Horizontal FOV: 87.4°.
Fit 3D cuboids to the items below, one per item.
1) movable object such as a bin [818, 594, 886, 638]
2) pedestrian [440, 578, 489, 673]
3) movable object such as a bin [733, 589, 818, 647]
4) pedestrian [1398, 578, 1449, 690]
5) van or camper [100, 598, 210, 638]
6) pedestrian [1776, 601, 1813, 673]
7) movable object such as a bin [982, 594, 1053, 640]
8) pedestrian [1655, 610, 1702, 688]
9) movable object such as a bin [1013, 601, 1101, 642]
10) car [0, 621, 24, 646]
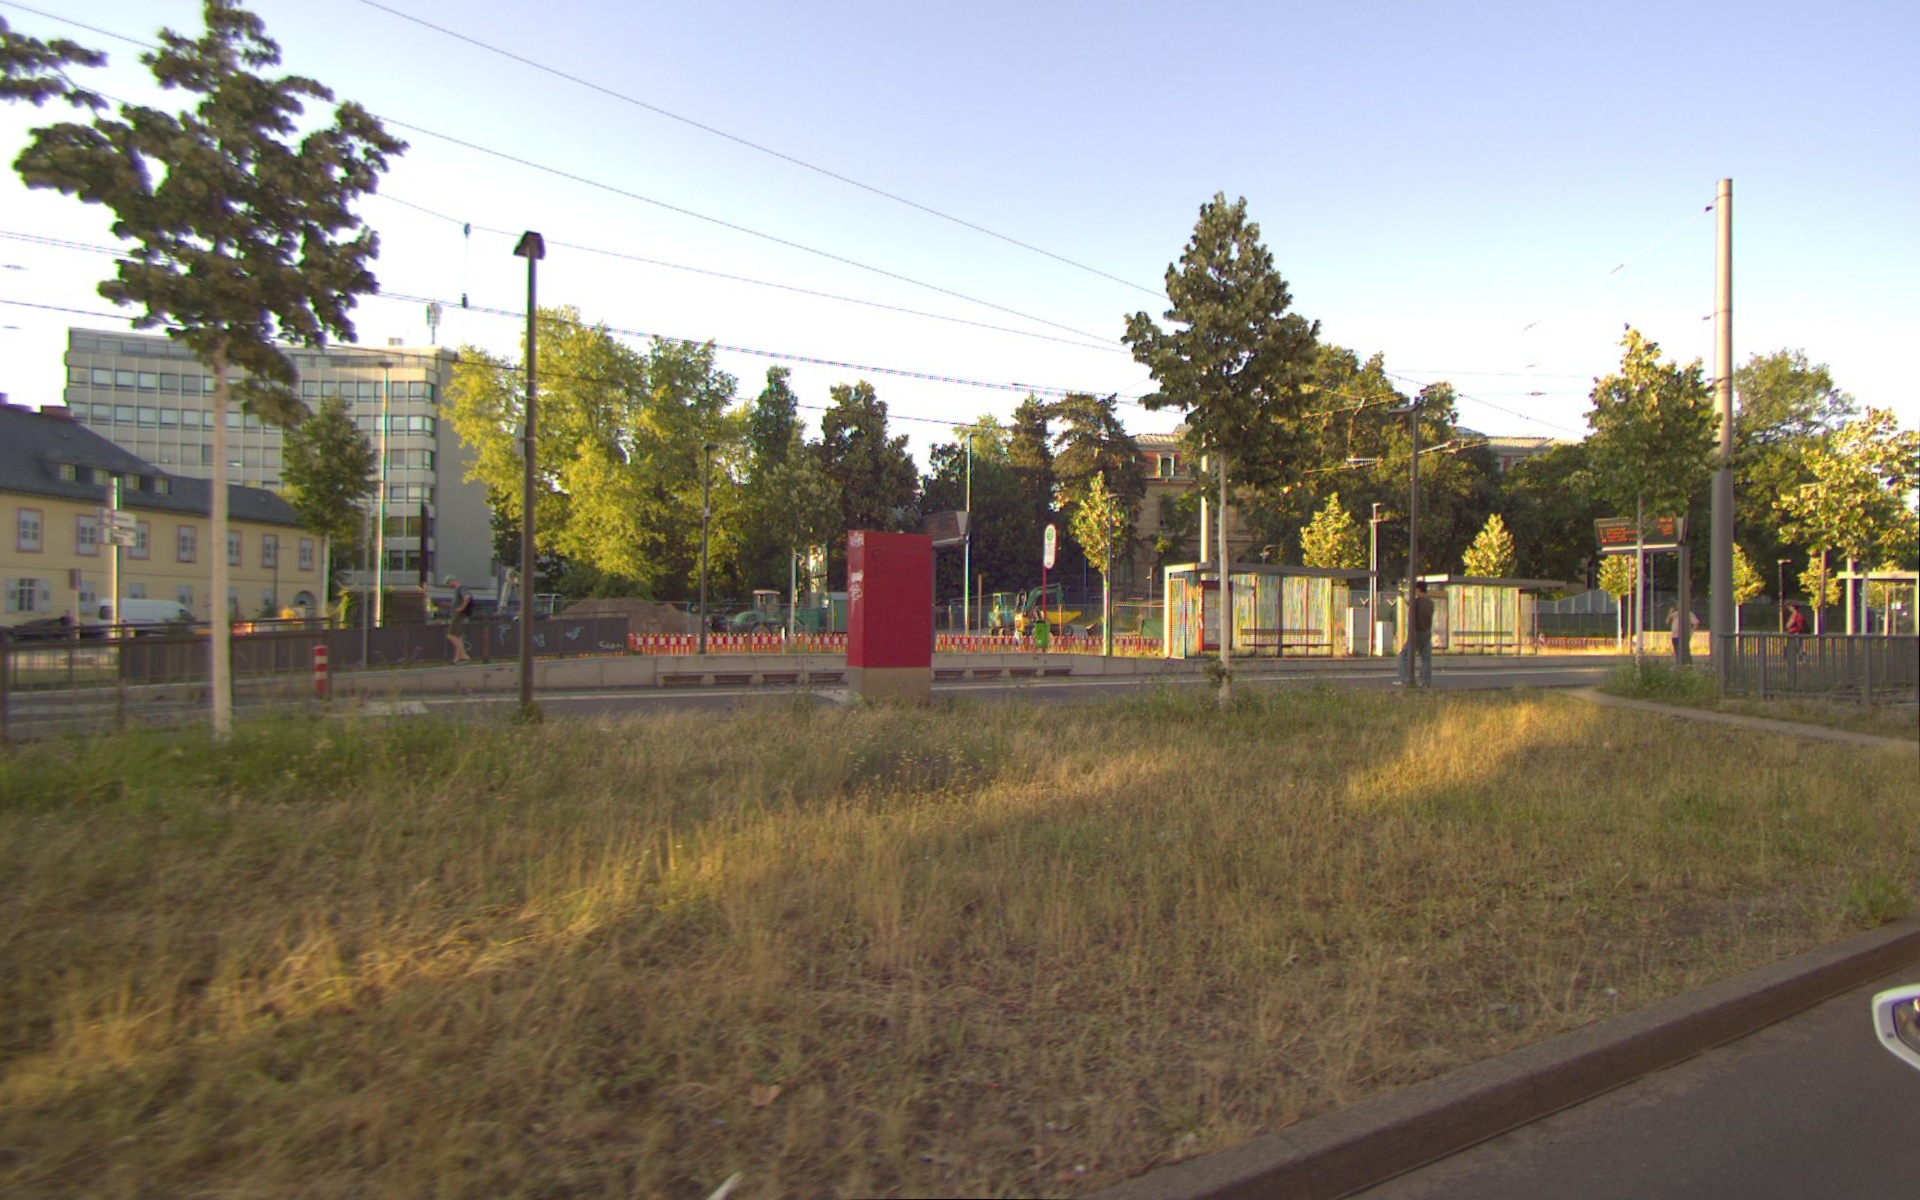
[{"bbox_3d":[-7.017,1.063,65.501,3.950,2.742,1.985,2,-1,-28],"label":"movable object such as a bin"},{"bbox_3d":[-9.694,0.502,19.643,0.807,1.822,0.691,2,-1,-28],"label":"pedestrian"},{"bbox_3d":[-9.163,0.921,49.813,3.936,2.742,1.993,1,-1,-17],"label":"movable object such as a bin"},{"bbox_3d":[7.705,0.564,16.704,0.617,1.810,0.470,1,-1,-23],"label":"pedestrian"},{"bbox_3d":[-48.947,1.114,61.212,1.959,2.332,5.120,0,-1,12],"label":"van or camper"},{"bbox_3d":[20.703,0.915,24.921,0.631,1.752,0.628,2,-2,-43],"label":"pedestrian"},{"bbox_3d":[3.556,1.049,62.191,3.950,2.742,1.985,2,-1,-28],"label":"movable object such as a bin"},{"bbox_3d":[16.632,1.114,23.243,0.630,1.768,0.719,1,-1,-38],"label":"pedestrian"},{"bbox_3d":[5.690,1.297,58.934,4.878,2.276,1.985,2,-1,-28],"label":"movable object such as a bin"},{"bbox_3d":[-50.142,1.685,50.928,1.814,1.293,3.591,0,-2,8],"label":"car"}]
